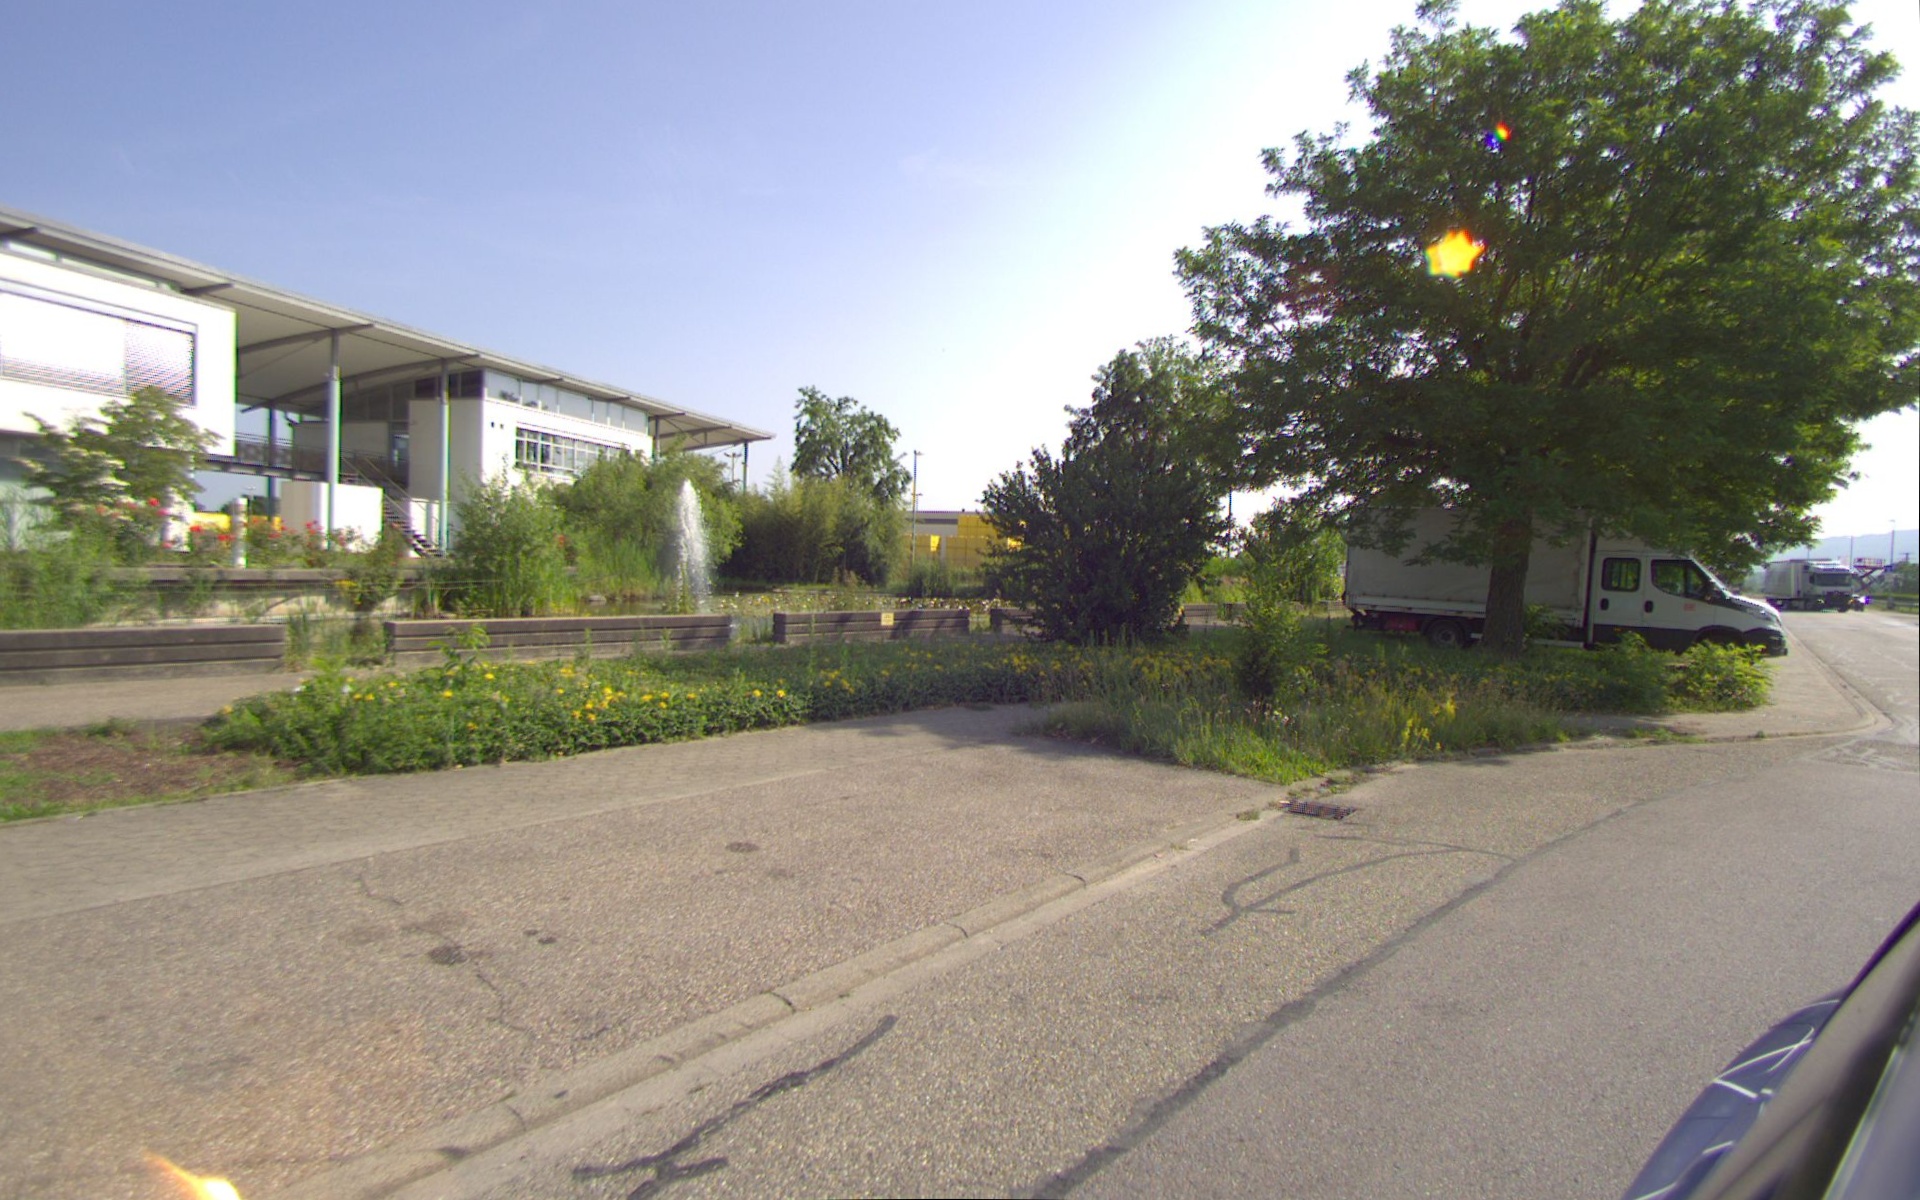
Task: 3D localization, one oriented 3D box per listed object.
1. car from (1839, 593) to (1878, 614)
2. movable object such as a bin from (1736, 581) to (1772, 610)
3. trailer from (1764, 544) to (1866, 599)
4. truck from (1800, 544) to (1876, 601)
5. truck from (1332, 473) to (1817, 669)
[{"bbox_3d":[76.100,0.272,85.752,1.990,1.466,4.361,6,4,37],"label":"car"},{"bbox_3d":[91.447,-0.541,116.592,2.417,3.048,5.691,4,3,31],"label":"movable object such as a bin"},{"bbox_3d":[71.756,-2.414,85.377,3.467,4.259,14.102,0,2,27],"label":"trailer"},{"bbox_3d":[68.309,-2.126,78.883,3.369,4.259,6.035,0,2,30],"label":"truck"},{"bbox_3d":[12.428,-0.758,21.224,8.195,3.410,2.704,4,4,38],"label":"truck"}]
